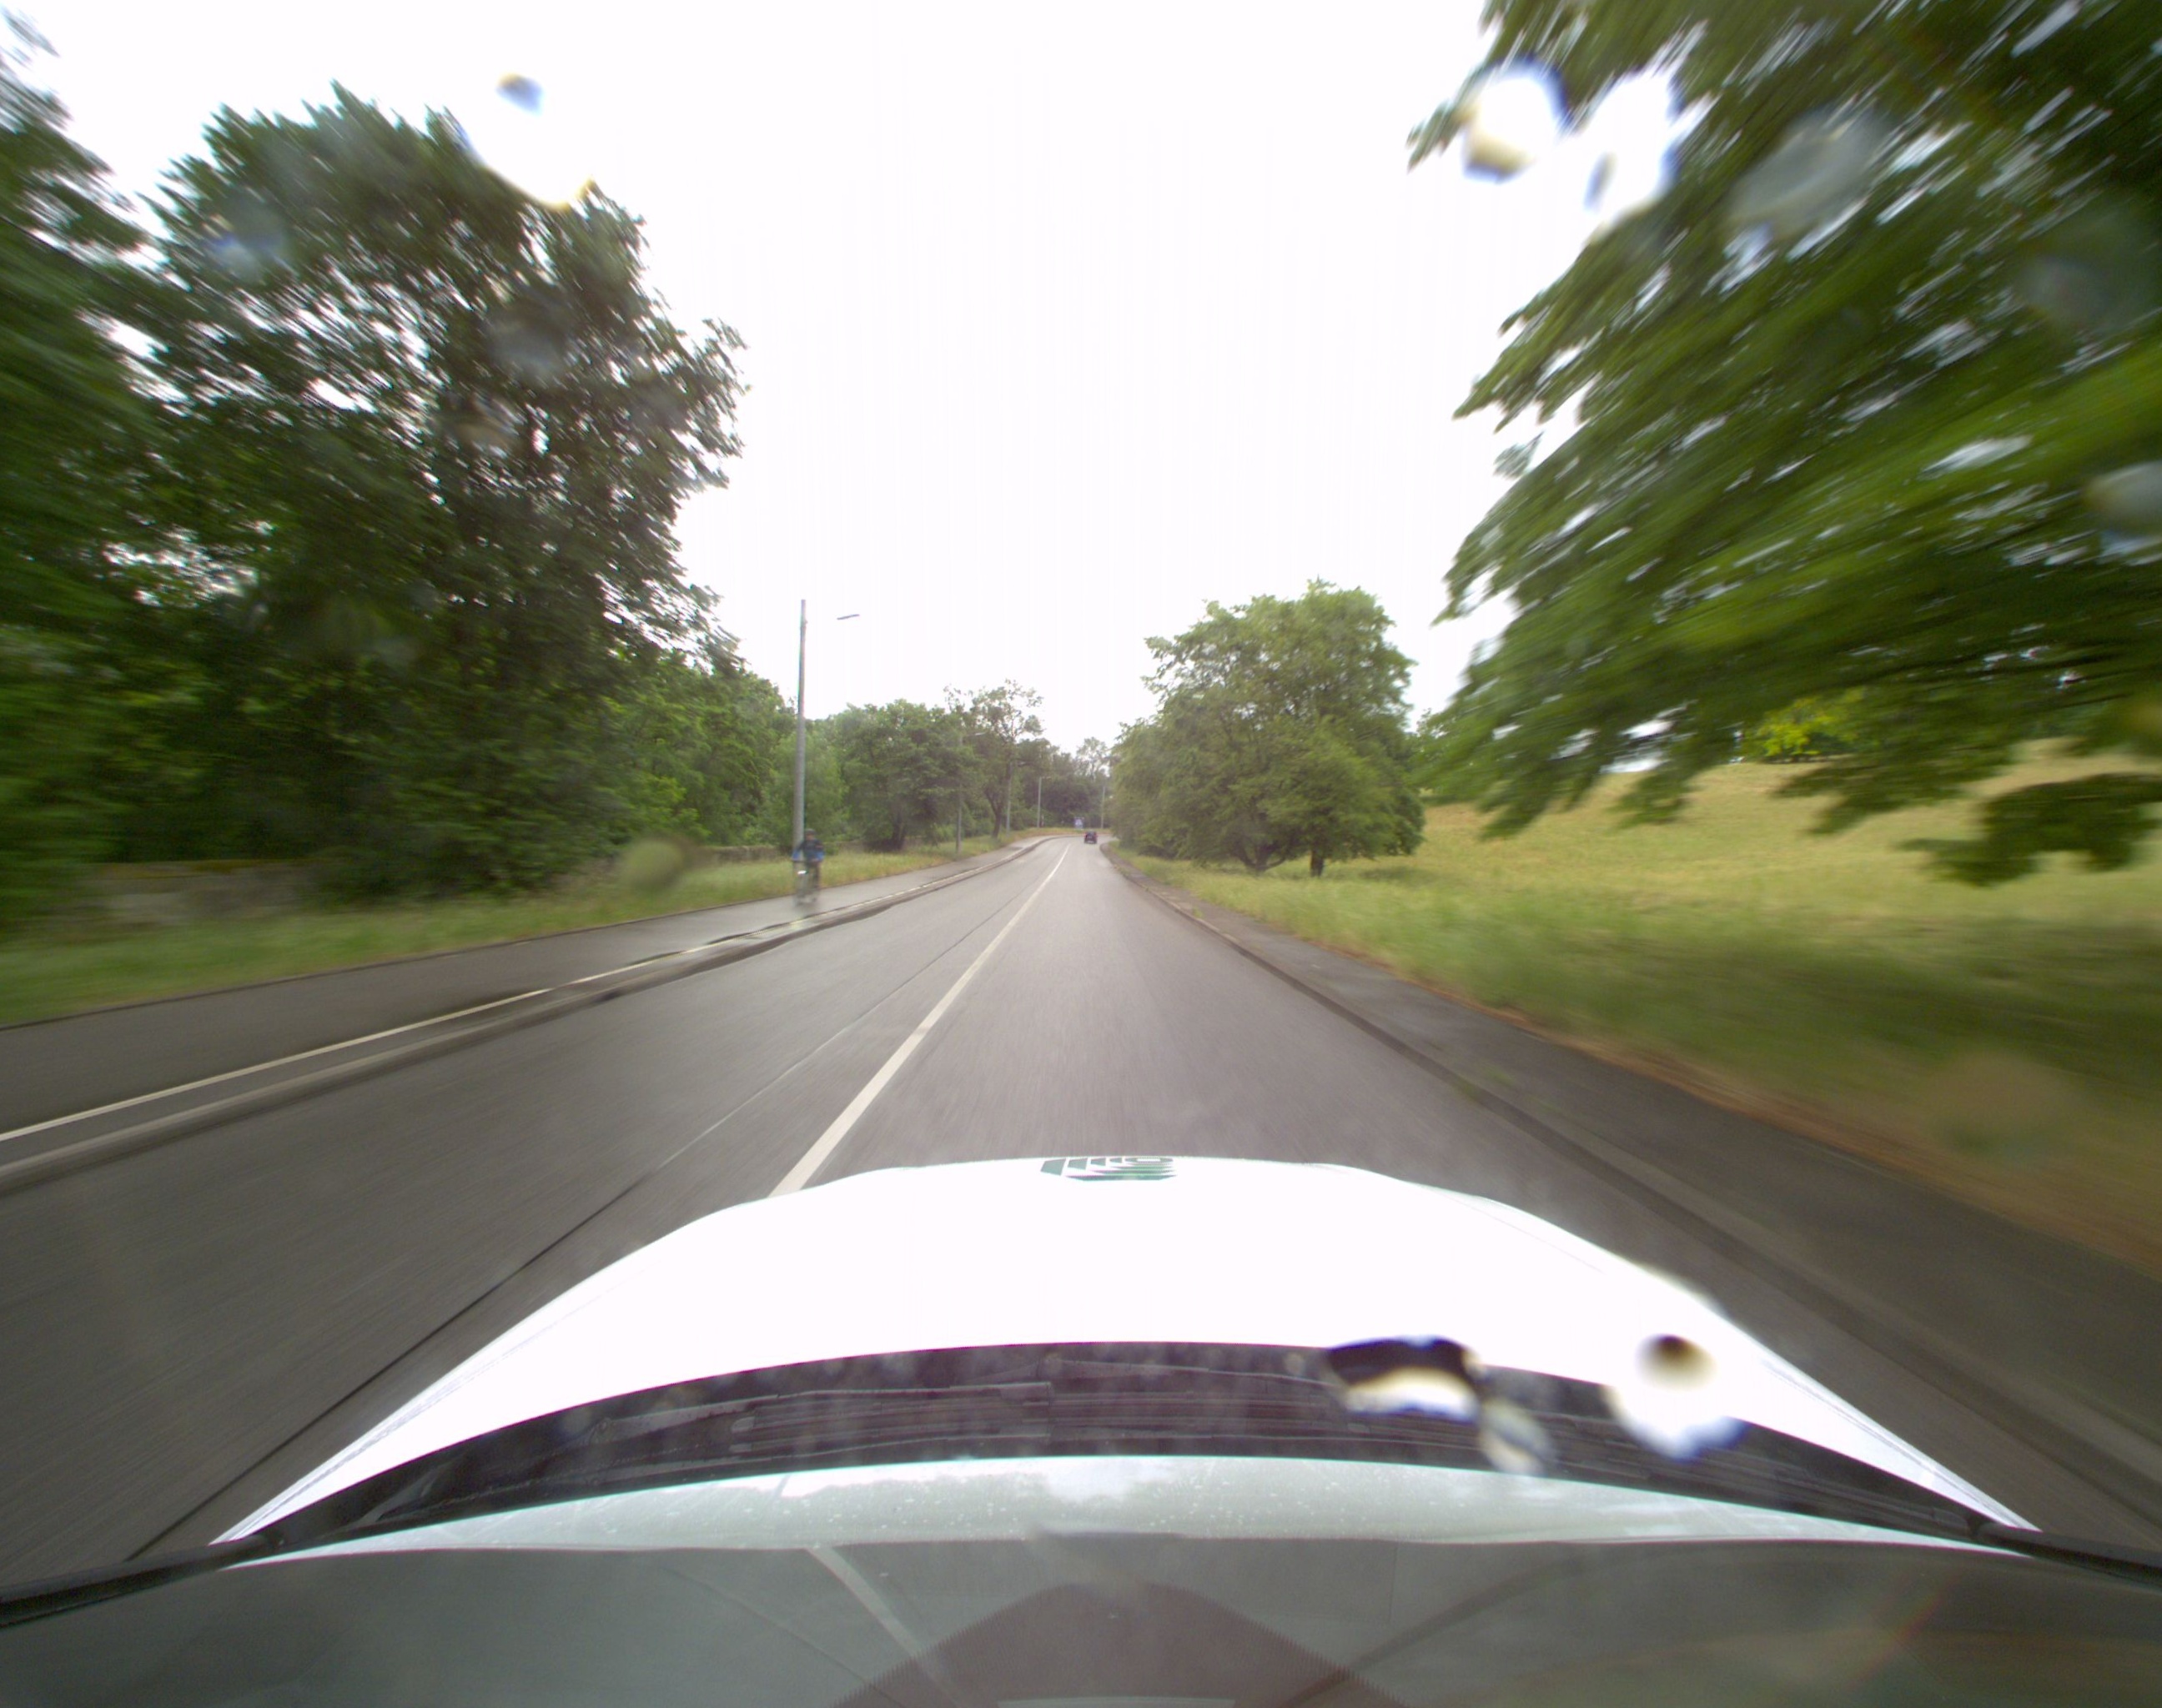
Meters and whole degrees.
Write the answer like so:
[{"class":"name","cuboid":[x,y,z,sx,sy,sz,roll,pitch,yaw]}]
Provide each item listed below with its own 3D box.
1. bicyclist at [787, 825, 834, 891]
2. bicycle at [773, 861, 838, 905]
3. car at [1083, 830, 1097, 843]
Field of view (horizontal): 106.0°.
[{"class":"bicyclist","cuboid":[-6.752,0.086,20.383,0.706,1.556,1.170,4,1,-1]},{"class":"bicycle","cuboid":[-6.793,0.687,20.247,0.722,0.941,2.550,4,1,-1]},{"class":"car","cuboid":[1.331,-2.615,120.968,1.735,1.716,4.003,3,1,3]}]
